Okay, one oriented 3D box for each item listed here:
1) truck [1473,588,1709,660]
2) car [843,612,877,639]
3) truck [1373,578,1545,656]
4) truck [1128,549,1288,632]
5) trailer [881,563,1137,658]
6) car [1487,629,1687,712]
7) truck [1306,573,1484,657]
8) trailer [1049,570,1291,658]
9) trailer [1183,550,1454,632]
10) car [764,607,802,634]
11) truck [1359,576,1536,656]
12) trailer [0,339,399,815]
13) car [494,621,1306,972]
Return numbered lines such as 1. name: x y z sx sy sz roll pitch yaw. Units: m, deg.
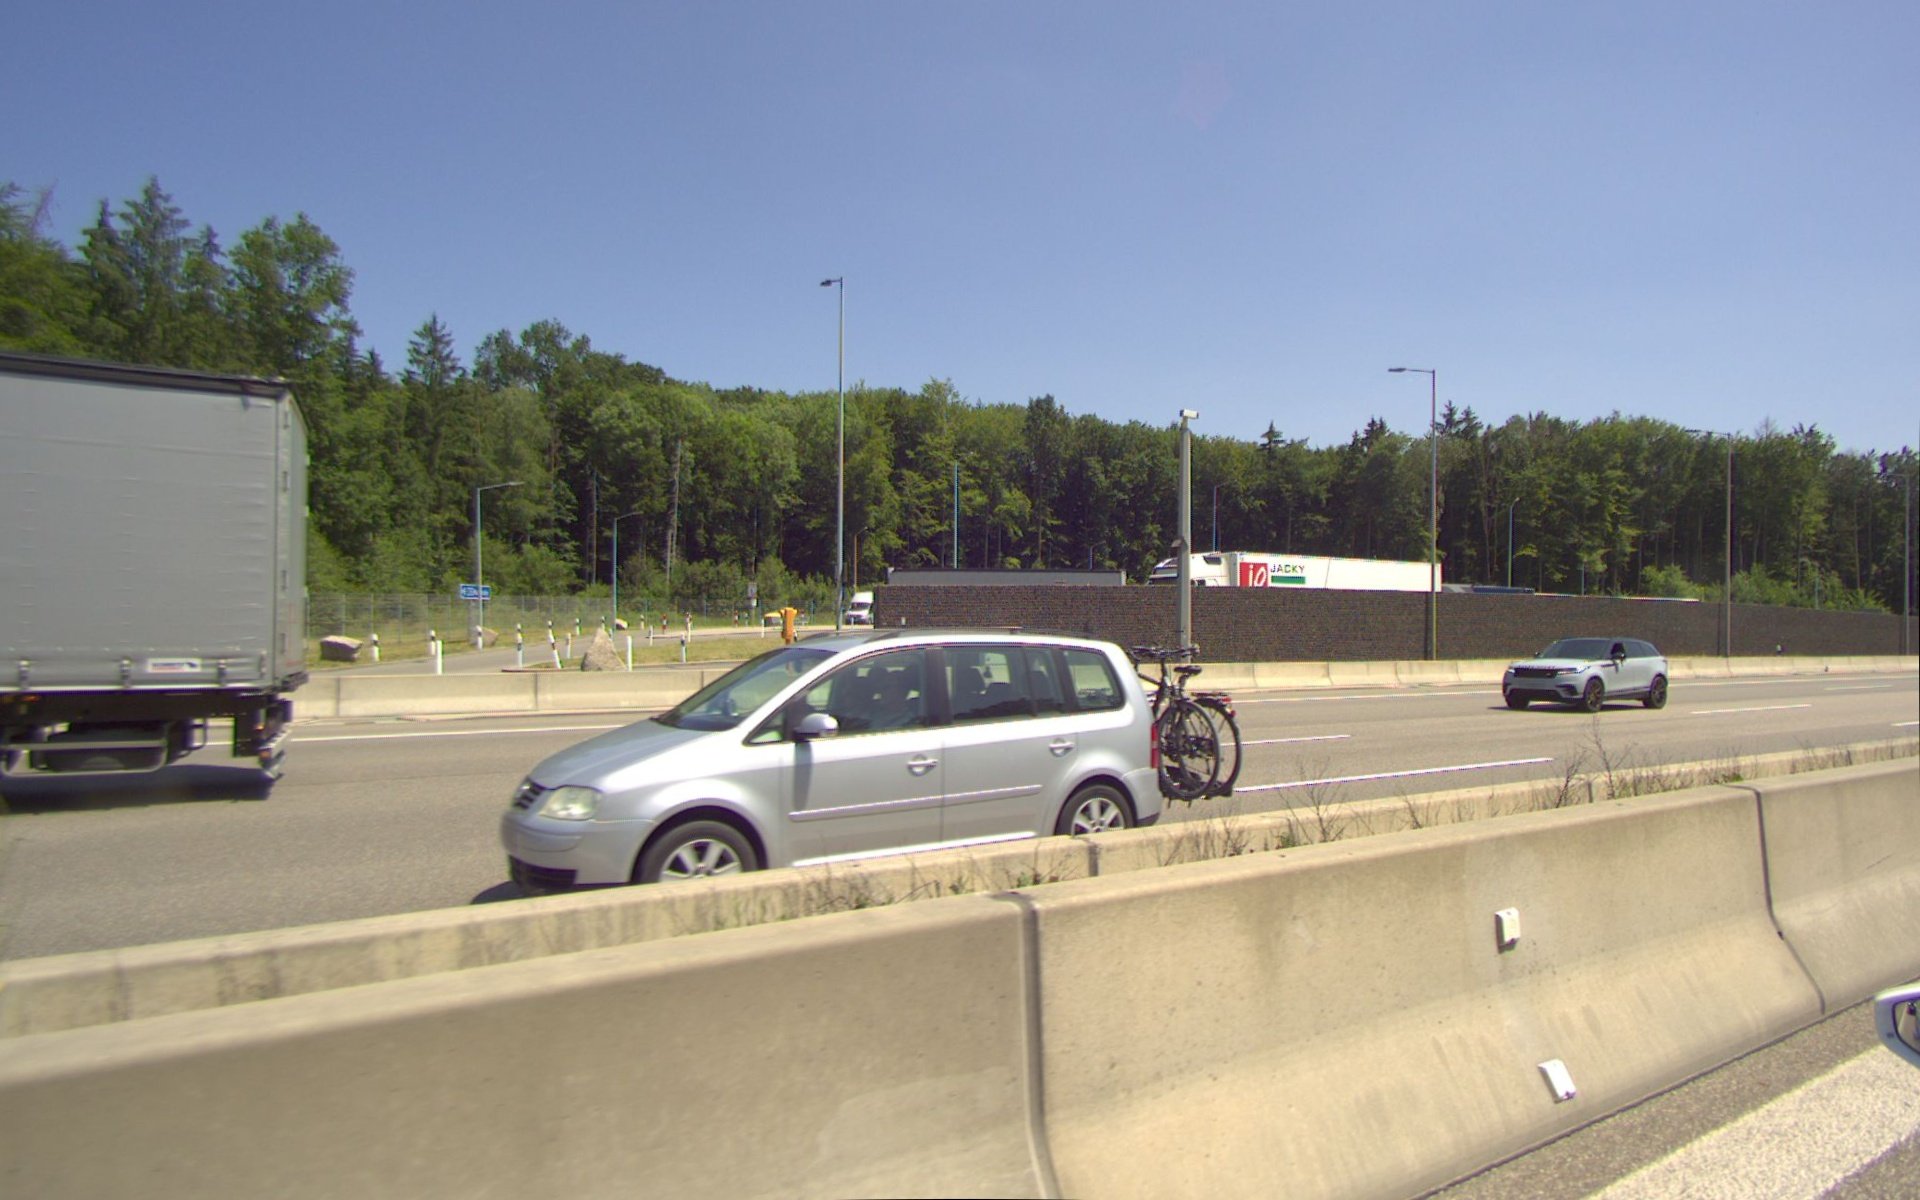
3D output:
1. truck: 52.402 1.902 84.085 16.374 5.687 3.453 0 -1 15
2. car: -7.808 2.040 78.845 1.960 2.040 4.002 0 -2 4
3. truck: 38.006 1.270 77.024 11.305 5.687 3.370 0 -1 15
4. truck: 10.269 -0.290 41.485 6.130 3.165 2.913 2 -1 -30
5. trailer: 2.765 0.572 57.465 14.273 5.139 3.131 0 -1 15
6. car: 14.974 1.614 23.936 4.980 1.797 1.984 1 -2 -30
7. truck: 30.810 1.027 71.740 11.305 5.687 3.230 0 -1 15
8. trailer: 12.873 0.823 62.150 14.273 5.139 3.225 0 -1 15
9. trailer: 16.427 -0.242 45.099 14.439 3.165 2.958 2 -1 -31
10. car: -13.646 1.613 77.760 1.960 2.040 4.002 0 -2 4
11. truck: 35.698 1.153 74.147 11.305 5.687 3.230 0 -1 15
12. trailer: -12.471 -0.266 7.599 14.298 4.054 2.741 1 -2 -31
13. car: -0.161 1.009 6.934 5.399 1.665 1.775 1 -2 -31
